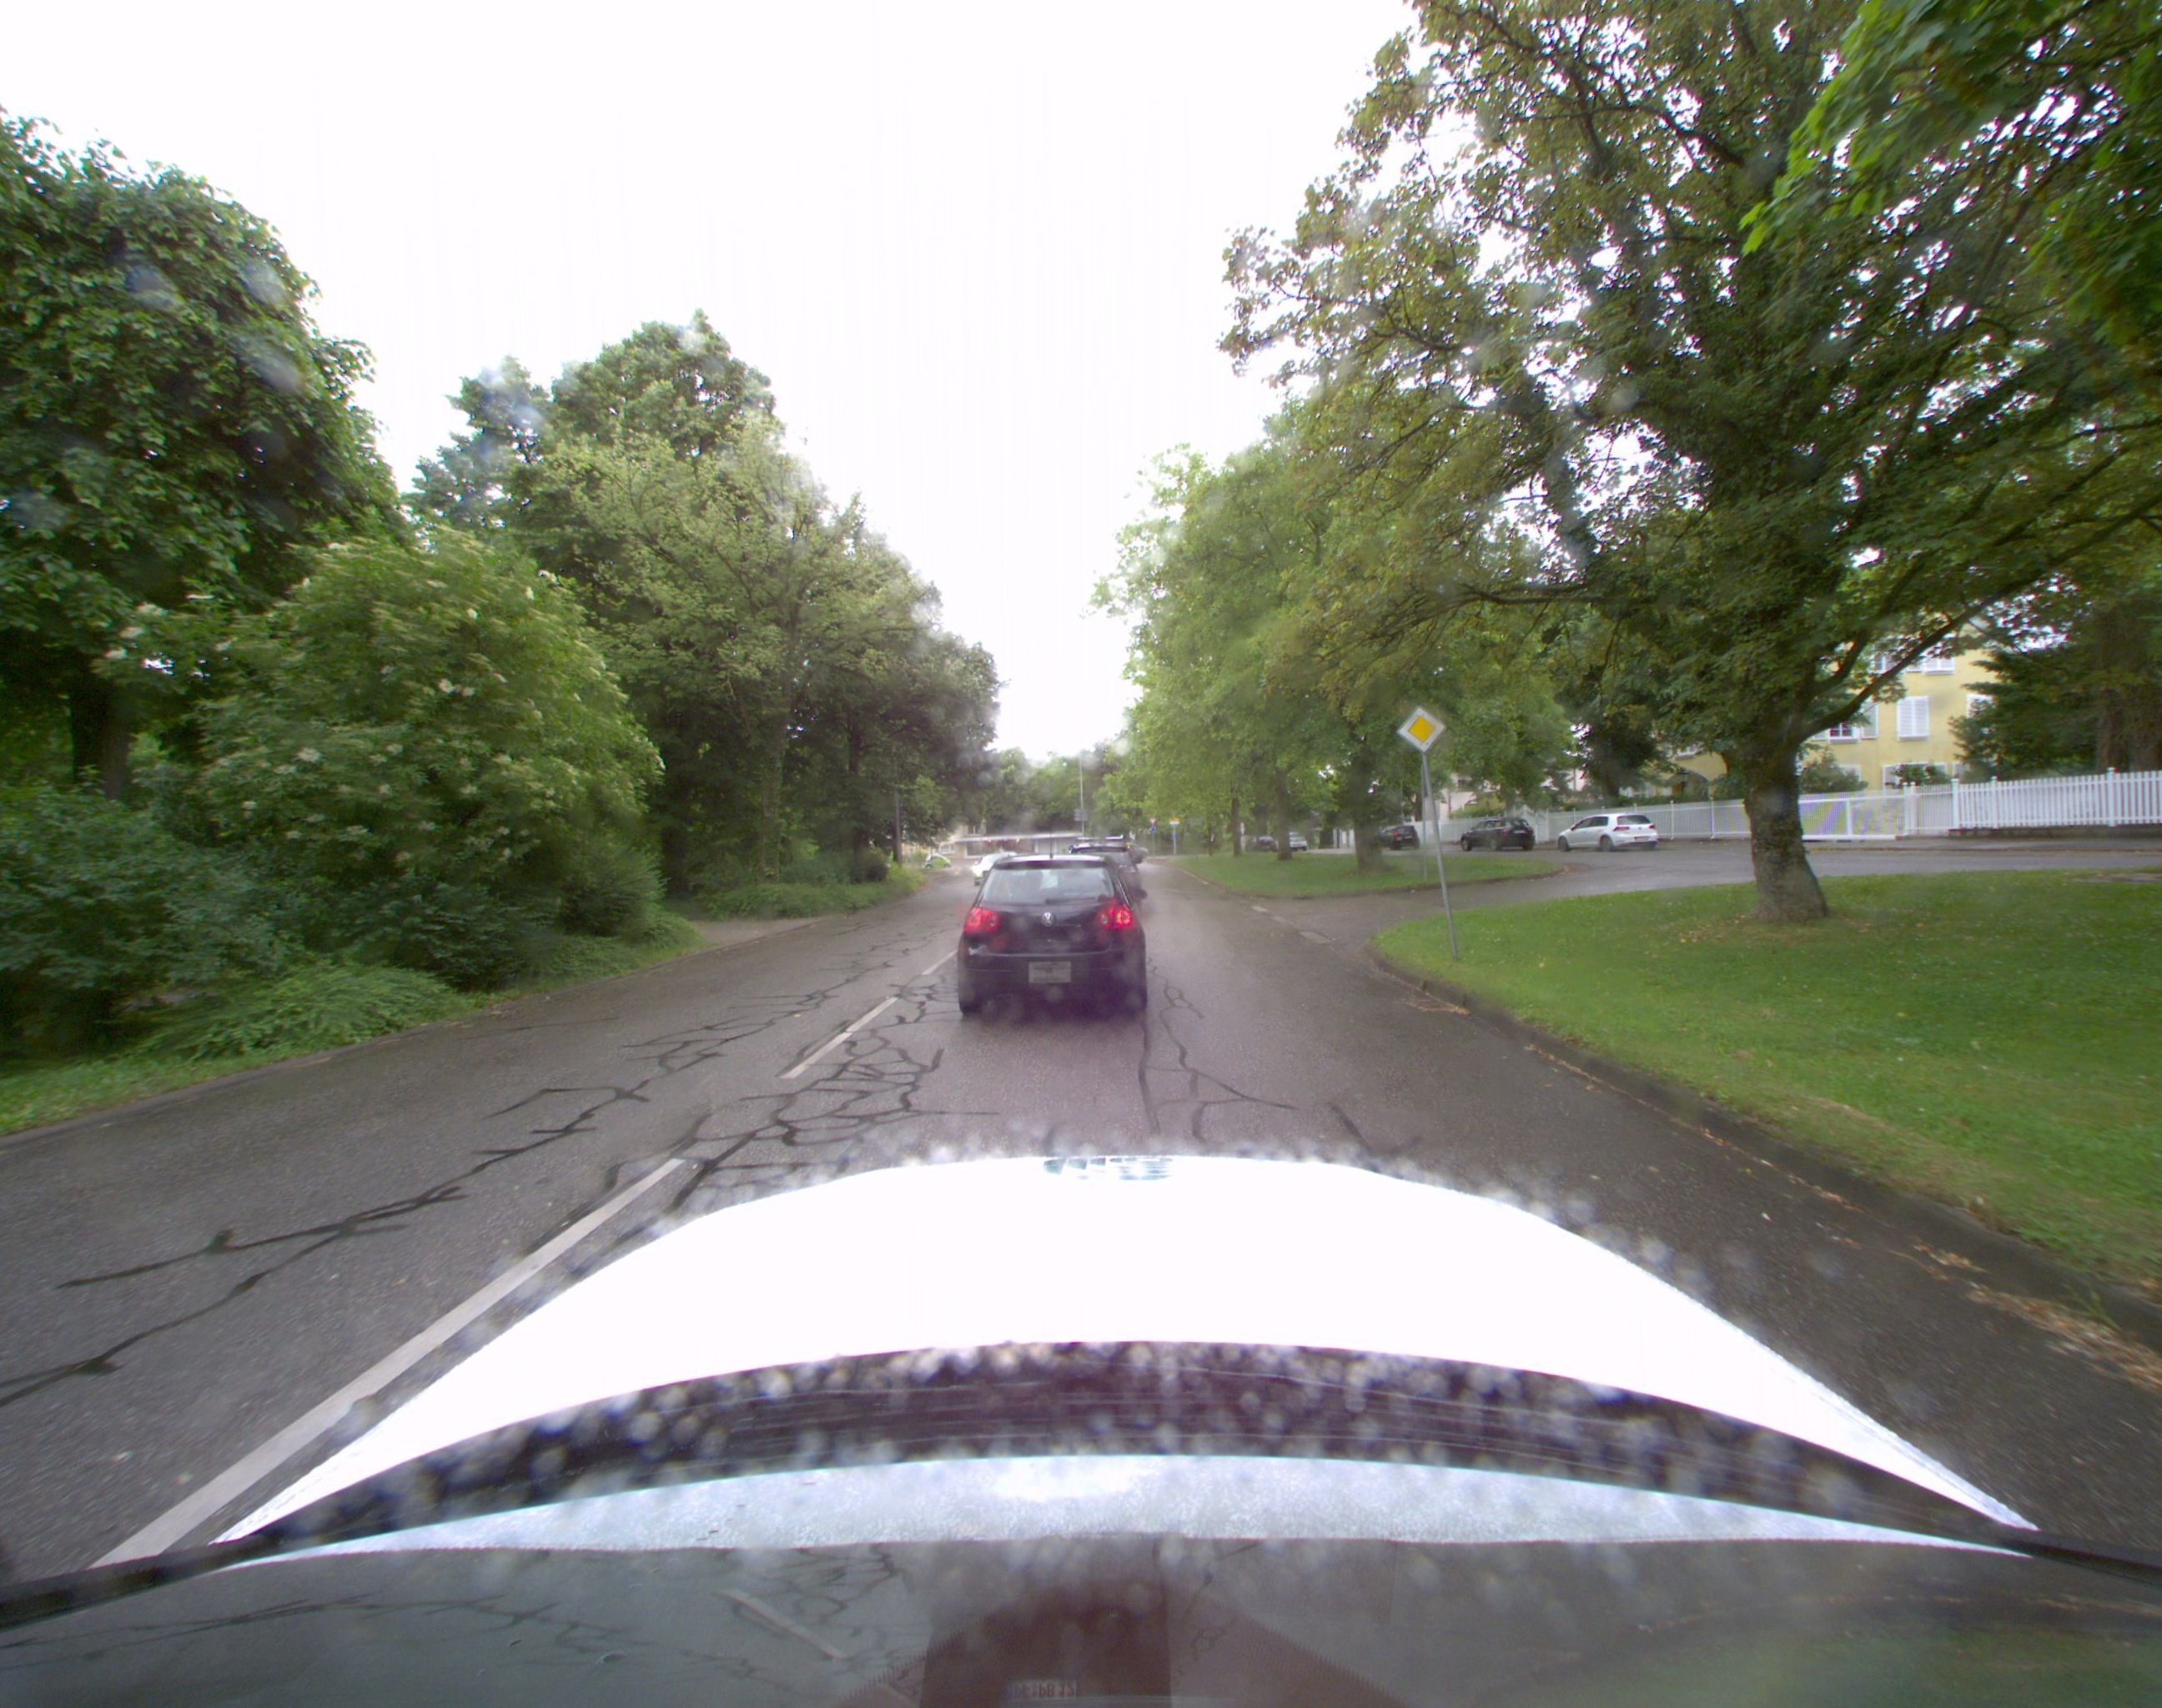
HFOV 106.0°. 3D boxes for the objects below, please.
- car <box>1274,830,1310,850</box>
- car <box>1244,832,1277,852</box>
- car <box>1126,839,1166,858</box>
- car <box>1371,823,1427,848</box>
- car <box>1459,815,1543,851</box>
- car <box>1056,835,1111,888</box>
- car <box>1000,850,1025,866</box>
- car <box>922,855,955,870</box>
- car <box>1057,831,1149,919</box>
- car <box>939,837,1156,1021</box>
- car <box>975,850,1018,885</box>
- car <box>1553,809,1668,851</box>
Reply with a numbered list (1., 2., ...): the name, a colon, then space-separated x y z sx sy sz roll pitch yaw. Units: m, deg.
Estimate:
1. car: 16.544 -1.080 63.979 1.796 1.406 4.002 -4 1 2
2. car: 14.019 -0.920 63.861 1.796 1.385 4.002 -4 1 2
3. car: 6.897 -0.576 85.946 1.975 1.706 4.024 -3 0 45
4. car: 19.826 -1.168 50.985 1.796 1.411 4.112 -4 1 0
5. car: 19.902 -0.997 38.803 1.796 1.529 4.112 -4 1 0
6. car: 0.154 0.279 30.724 1.848 1.784 4.003 -2 0 2
7. car: -6.625 0.413 78.533 1.800 1.393 3.959 -4 0 -14
8. car: -14.334 0.863 82.089 3.116 1.310 1.536 -3 0 -7
9. car: 0.553 0.415 19.153 1.848 1.784 4.003 -2 1 2
10. car: -0.200 0.635 8.740 1.791 1.515 3.756 -1 0 2
11. car: -3.977 0.624 38.944 1.603 1.427 4.007 -3 1 -1
12. car: 20.210 -0.906 31.286 1.612 1.409 4.006 -4 1 -3
